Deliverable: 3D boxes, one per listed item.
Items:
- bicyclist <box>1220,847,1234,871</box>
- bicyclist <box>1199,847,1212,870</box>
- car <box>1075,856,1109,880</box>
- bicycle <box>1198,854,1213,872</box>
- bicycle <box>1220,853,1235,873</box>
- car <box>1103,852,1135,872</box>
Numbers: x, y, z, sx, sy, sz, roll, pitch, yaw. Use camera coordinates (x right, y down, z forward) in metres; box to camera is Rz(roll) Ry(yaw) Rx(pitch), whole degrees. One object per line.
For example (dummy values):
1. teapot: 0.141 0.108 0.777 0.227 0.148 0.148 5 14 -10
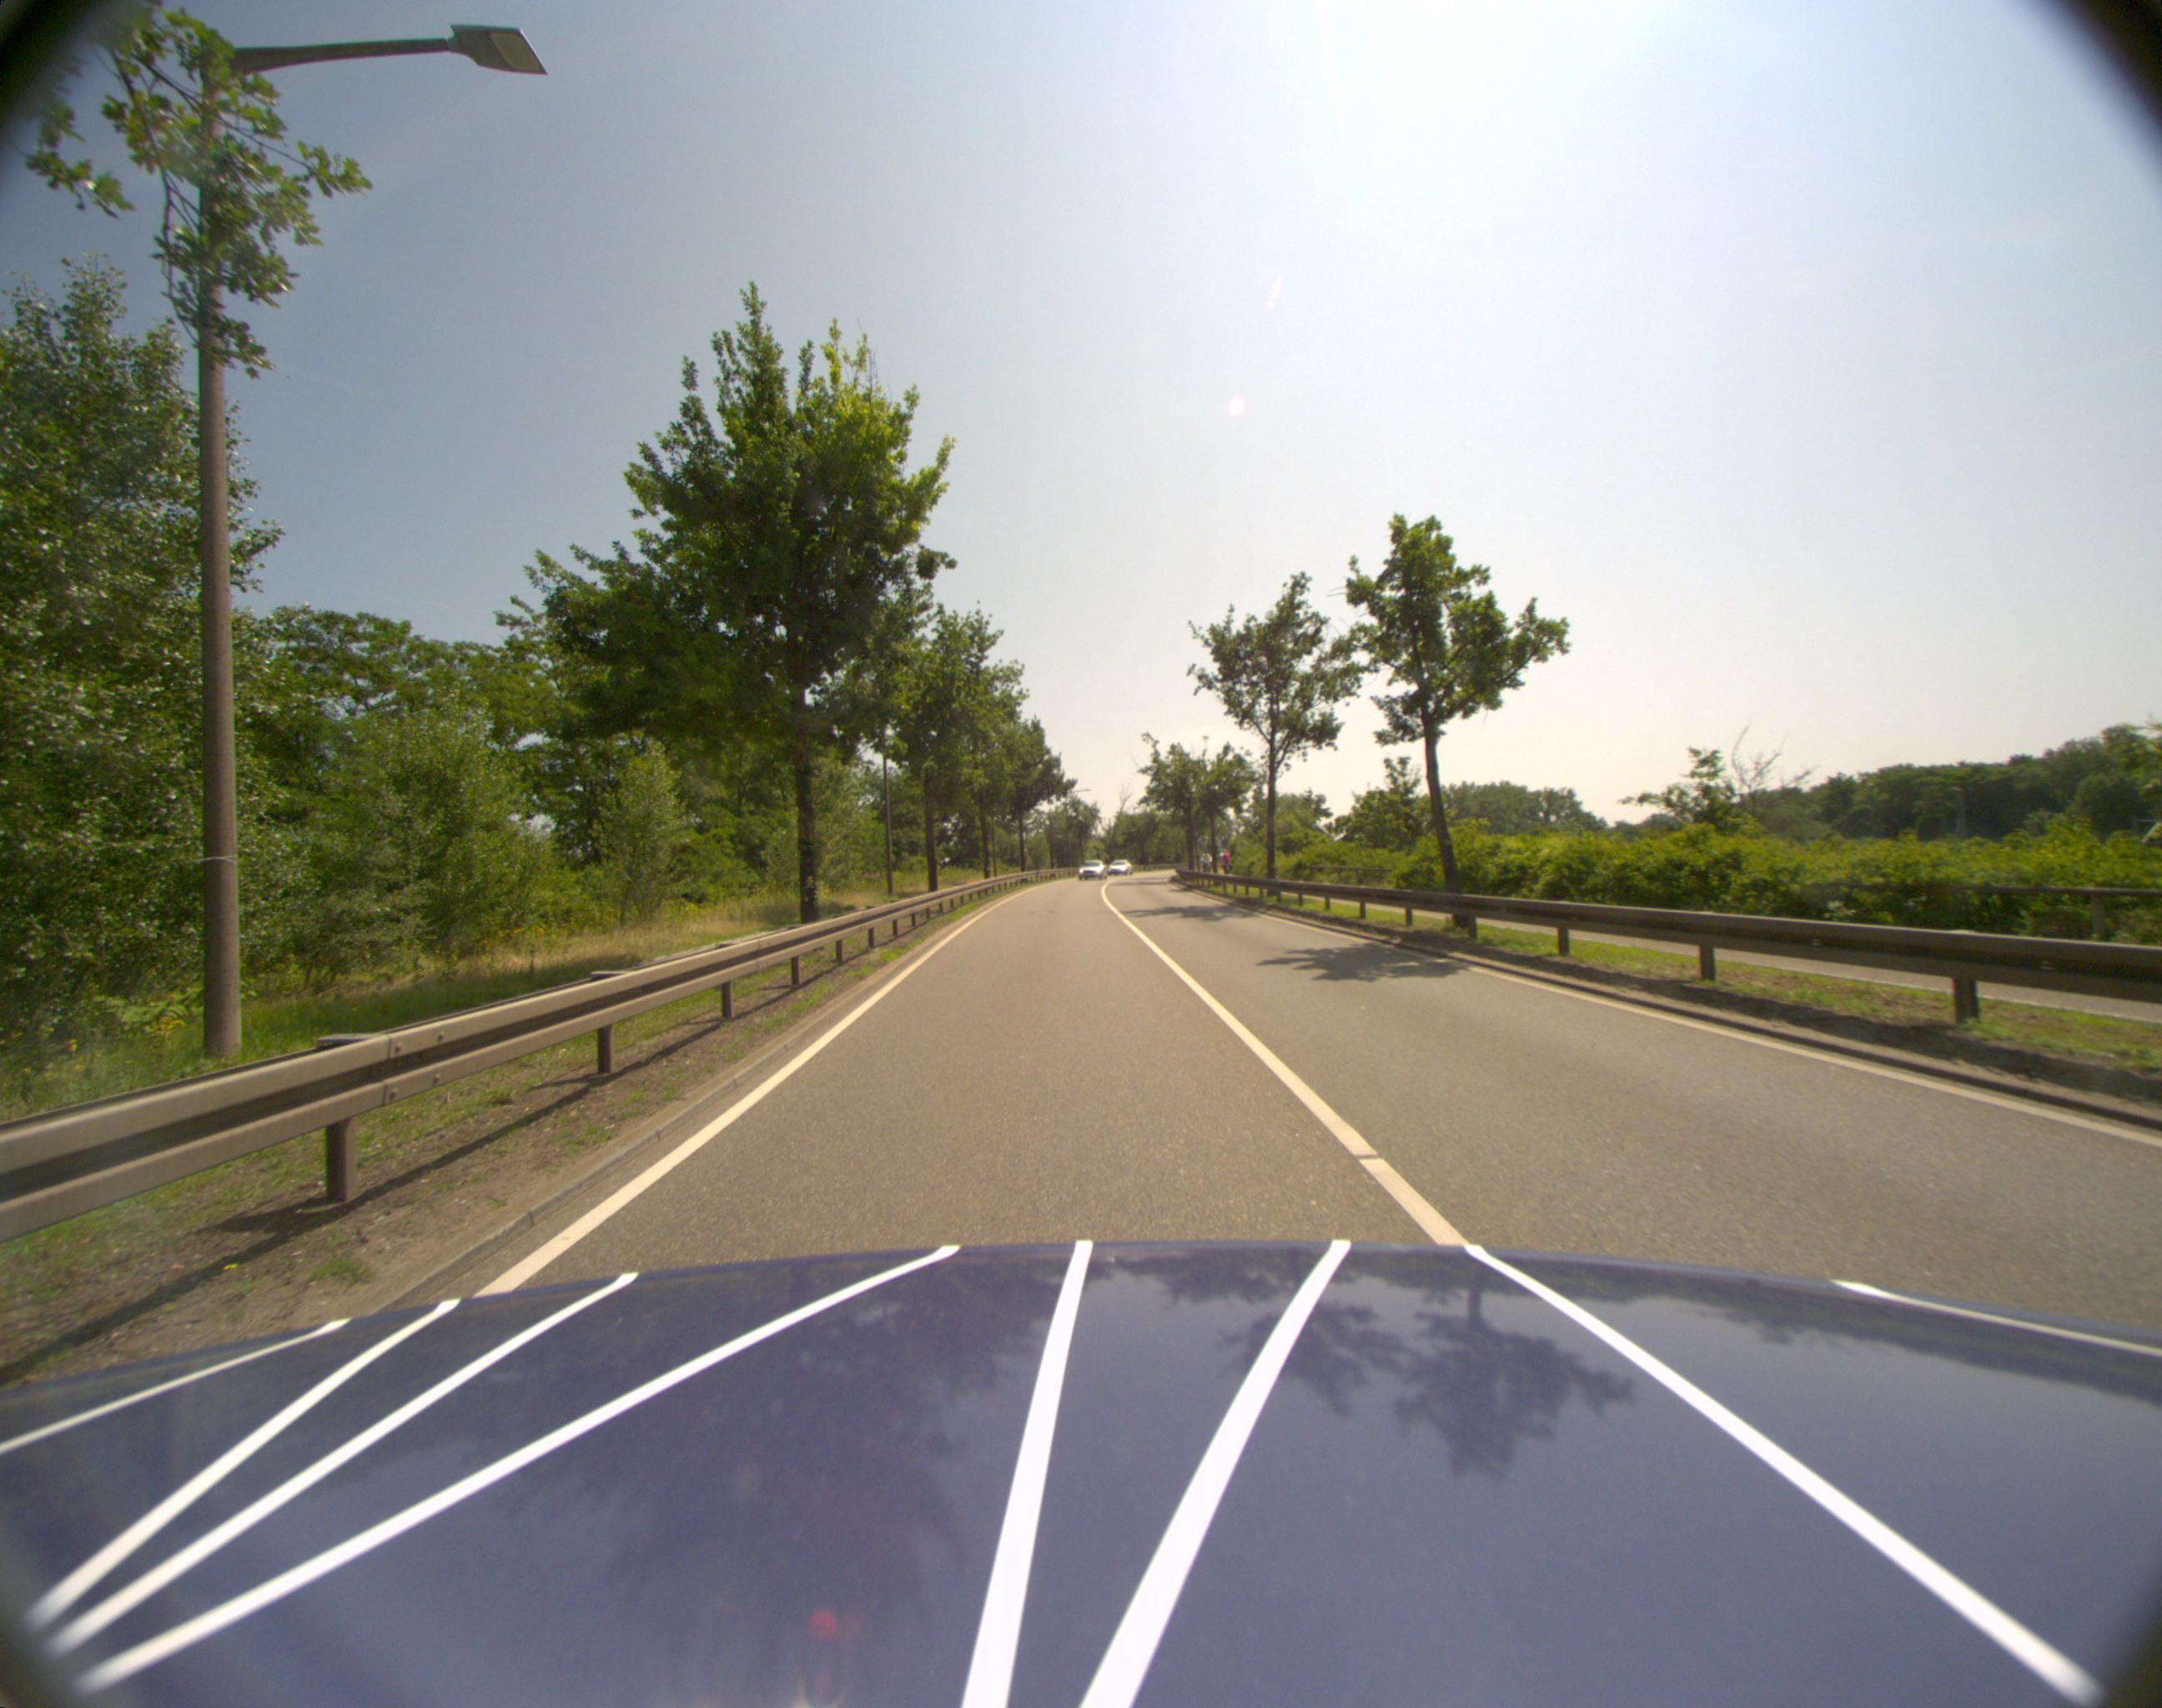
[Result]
1. bicyclist: 9.402 0.314 48.967 0.743 1.480 0.757 -2 1 5
2. bicyclist: 8.158 0.288 49.697 0.731 1.457 0.824 0 1 4
3. car: 0.806 0.954 53.980 1.762 1.490 4.235 -2 1 9
4. bicycle: 8.163 0.588 49.740 0.736 1.110 2.046 0 1 3
5. bicycle: 9.416 0.570 49.013 0.735 1.274 2.047 -2 0 6
6. car: 3.652 0.760 72.349 1.796 1.772 4.299 -2 0 19
